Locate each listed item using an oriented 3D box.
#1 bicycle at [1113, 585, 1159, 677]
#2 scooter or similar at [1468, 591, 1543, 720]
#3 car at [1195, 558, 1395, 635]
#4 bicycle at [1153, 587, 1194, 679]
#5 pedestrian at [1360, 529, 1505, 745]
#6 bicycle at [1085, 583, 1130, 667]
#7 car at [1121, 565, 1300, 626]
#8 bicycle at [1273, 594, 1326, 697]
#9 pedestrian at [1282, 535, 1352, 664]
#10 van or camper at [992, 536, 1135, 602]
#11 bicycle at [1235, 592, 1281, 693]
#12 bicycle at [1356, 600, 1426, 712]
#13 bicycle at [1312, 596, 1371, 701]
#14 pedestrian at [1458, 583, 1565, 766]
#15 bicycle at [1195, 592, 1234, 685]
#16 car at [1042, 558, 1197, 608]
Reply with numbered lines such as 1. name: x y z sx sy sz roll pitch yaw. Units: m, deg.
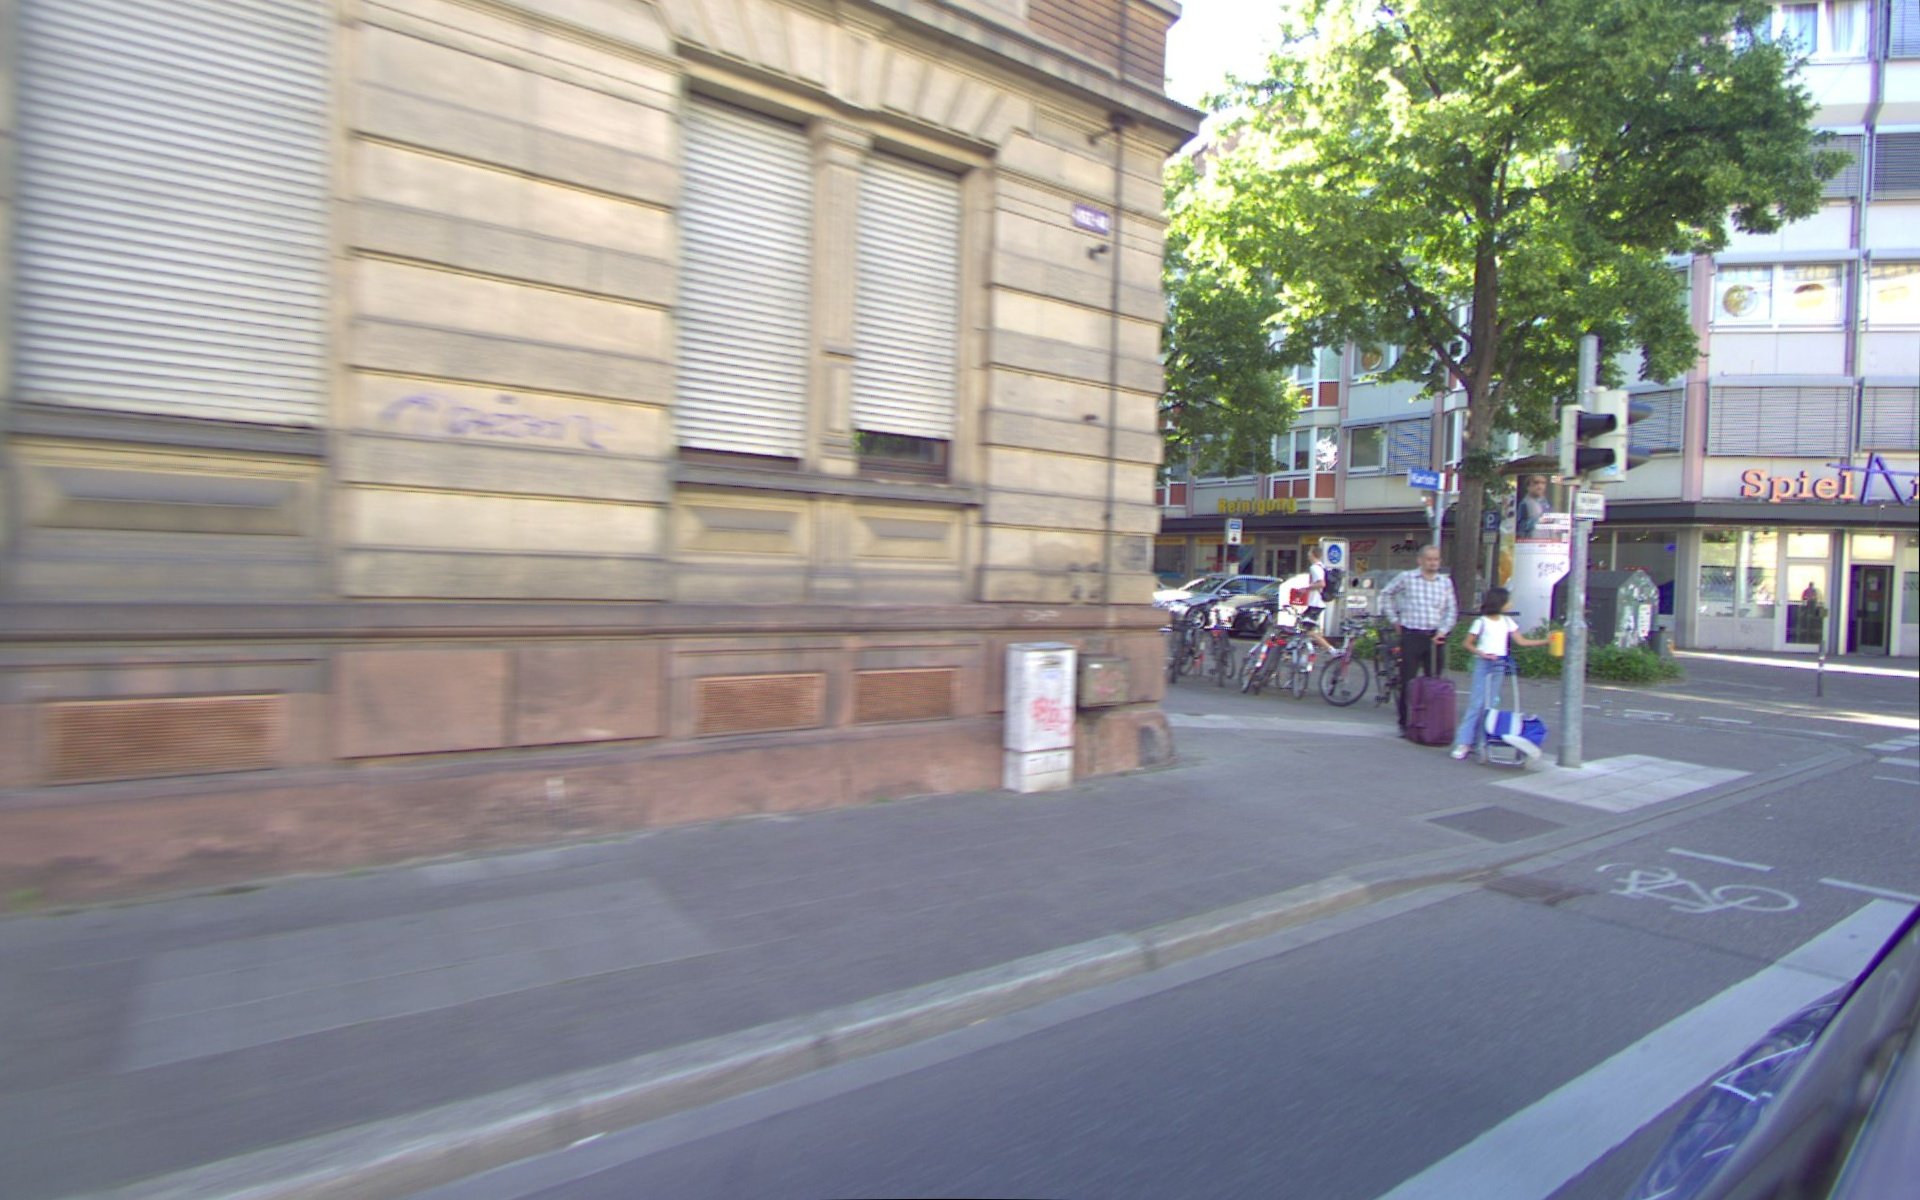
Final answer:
1. bicycle: 2.385 0.371 13.615 0.438 1.129 1.807 2 1 14
2. scooter or similar: 5.975 0.573 11.052 0.390 1.305 1.500 3 1 39
3. car: 7.675 -0.088 23.296 3.915 1.622 2.005 1 1 -19
4. bicycle: 2.914 0.402 13.707 0.438 1.129 1.807 2 1 14
5. pedestrian: 4.268 0.307 9.212 0.835 1.830 0.875 3 1 4
6. bicycle: 2.176 0.329 14.773 0.438 1.129 1.807 2 1 14
7. car: 6.352 -0.132 25.739 3.915 1.414 2.005 1 2 -19
8. bicycle: 4.130 0.510 12.390 0.438 1.129 1.807 2 1 14
9. pedestrian: 5.745 -0.023 16.281 0.933 2.009 0.712 2 1 25
10. van or camper: 3.732 -1.122 36.669 4.636 2.165 2.095 2 1 -15
11. bicycle: 3.708 0.488 12.668 0.438 1.129 1.807 2 1 14
12. bicycle: 4.915 0.588 11.606 0.438 1.129 1.806 2 1 15
13. bicycle: 4.579 0.541 12.207 0.438 1.129 1.806 2 1 15
14. pedestrian: 4.532 0.579 8.324 0.565 1.432 0.580 1 -1 -37
15. bicycle: 3.426 0.480 13.635 0.438 1.129 1.807 2 1 14
16. car: 5.010 -0.539 31.883 4.368 1.420 1.933 1 2 -18
